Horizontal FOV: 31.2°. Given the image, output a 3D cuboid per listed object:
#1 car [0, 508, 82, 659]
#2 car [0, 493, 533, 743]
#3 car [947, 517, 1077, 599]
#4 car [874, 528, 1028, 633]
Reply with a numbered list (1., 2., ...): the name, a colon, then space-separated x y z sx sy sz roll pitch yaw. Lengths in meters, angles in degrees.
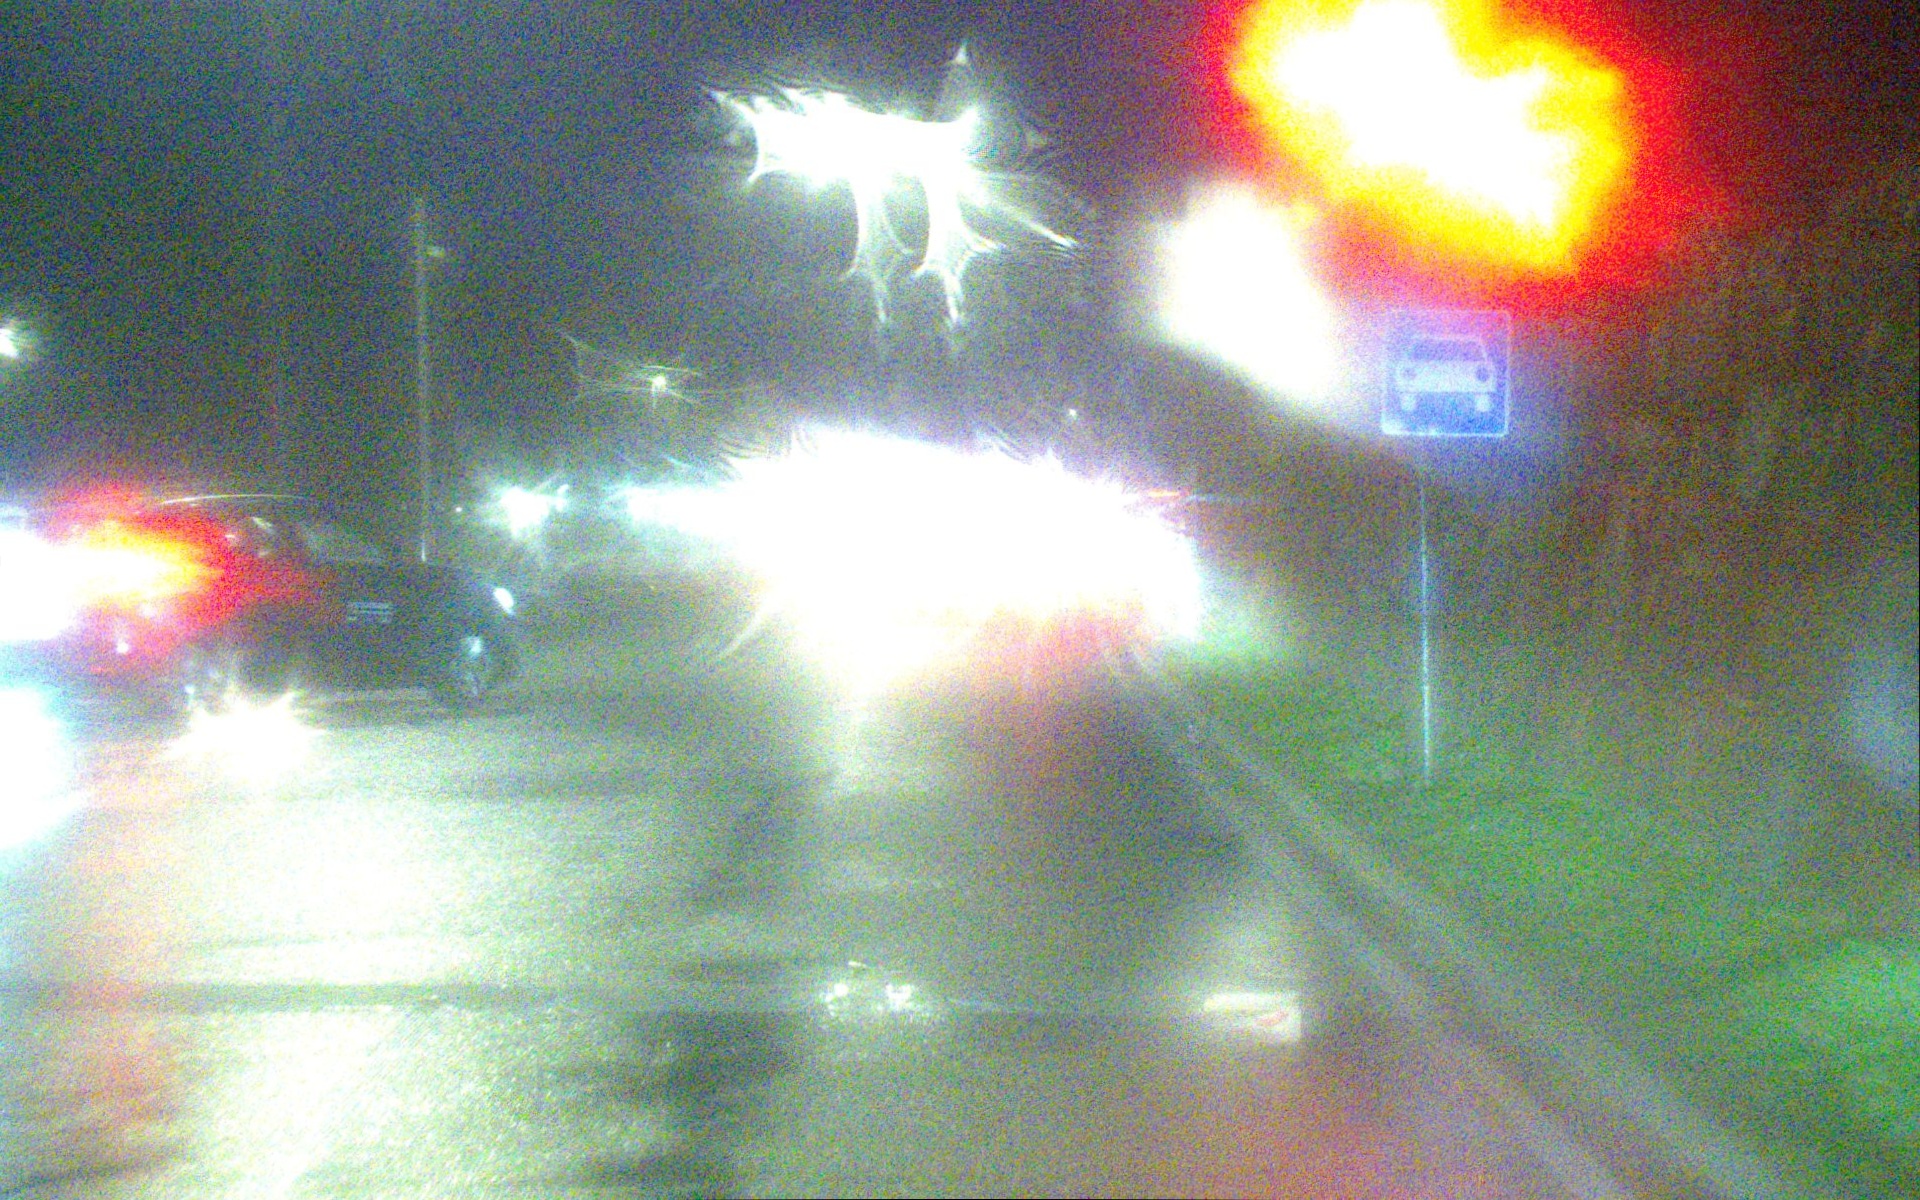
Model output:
1. car: -10.824 -0.200 36.874 1.698 1.566 4.712 0 1 -1
2. car: -5.188 0.100 24.352 1.998 1.605 4.094 0 1 38
3. car: 0.849 -0.695 58.162 2.107 1.335 4.294 0 0 0
4. car: -0.113 -0.283 48.986 2.103 1.434 4.000 0 0 0
